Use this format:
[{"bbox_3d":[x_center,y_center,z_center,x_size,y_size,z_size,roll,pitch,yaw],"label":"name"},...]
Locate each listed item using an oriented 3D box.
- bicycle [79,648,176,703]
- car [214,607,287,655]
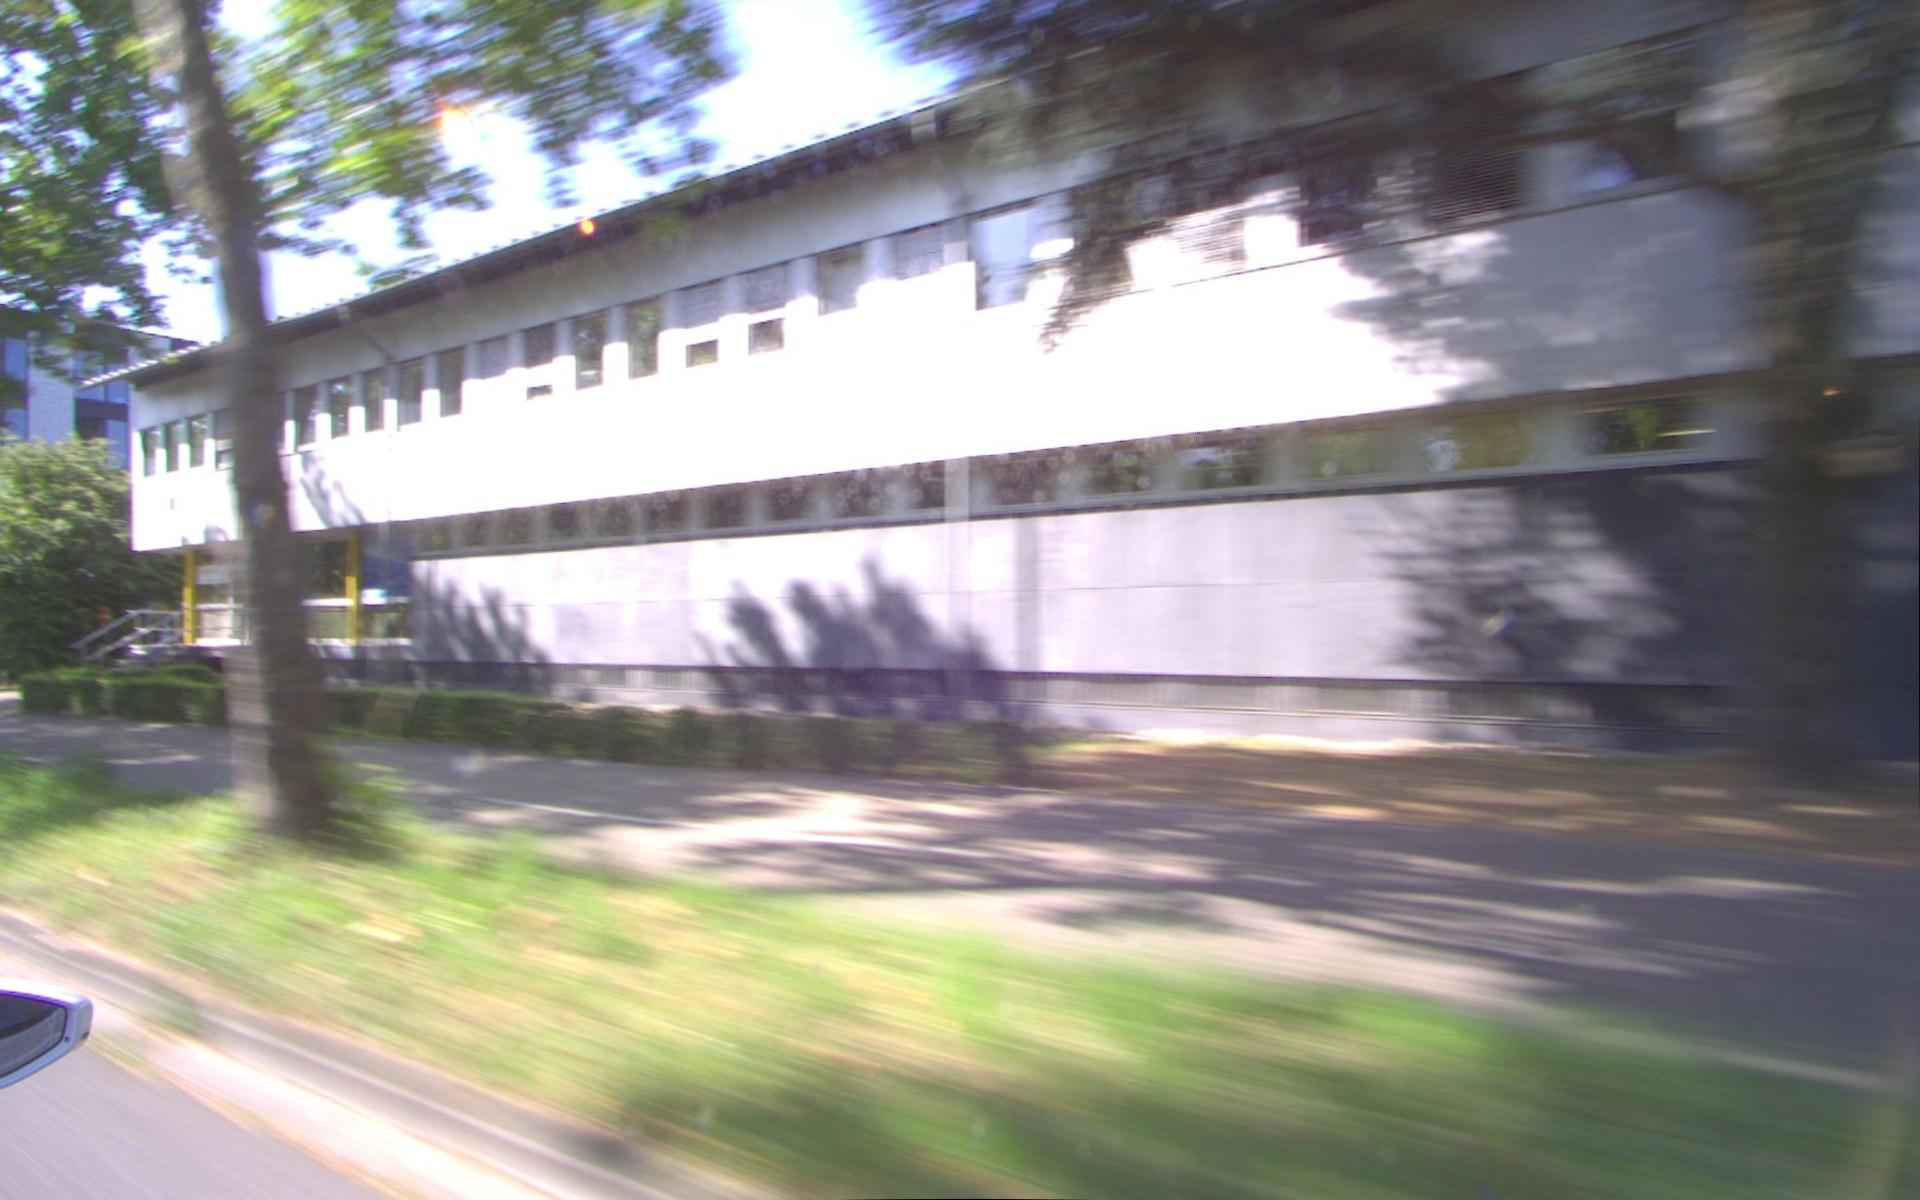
[{"bbox_3d":[-19.477,1.749,23.458,0.503,1.145,1.662,-1,0,40],"label":"bicycle"},{"bbox_3d":[-27.165,1.171,38.441,1.655,1.683,3.733,-2,0,-27],"label":"car"}]
